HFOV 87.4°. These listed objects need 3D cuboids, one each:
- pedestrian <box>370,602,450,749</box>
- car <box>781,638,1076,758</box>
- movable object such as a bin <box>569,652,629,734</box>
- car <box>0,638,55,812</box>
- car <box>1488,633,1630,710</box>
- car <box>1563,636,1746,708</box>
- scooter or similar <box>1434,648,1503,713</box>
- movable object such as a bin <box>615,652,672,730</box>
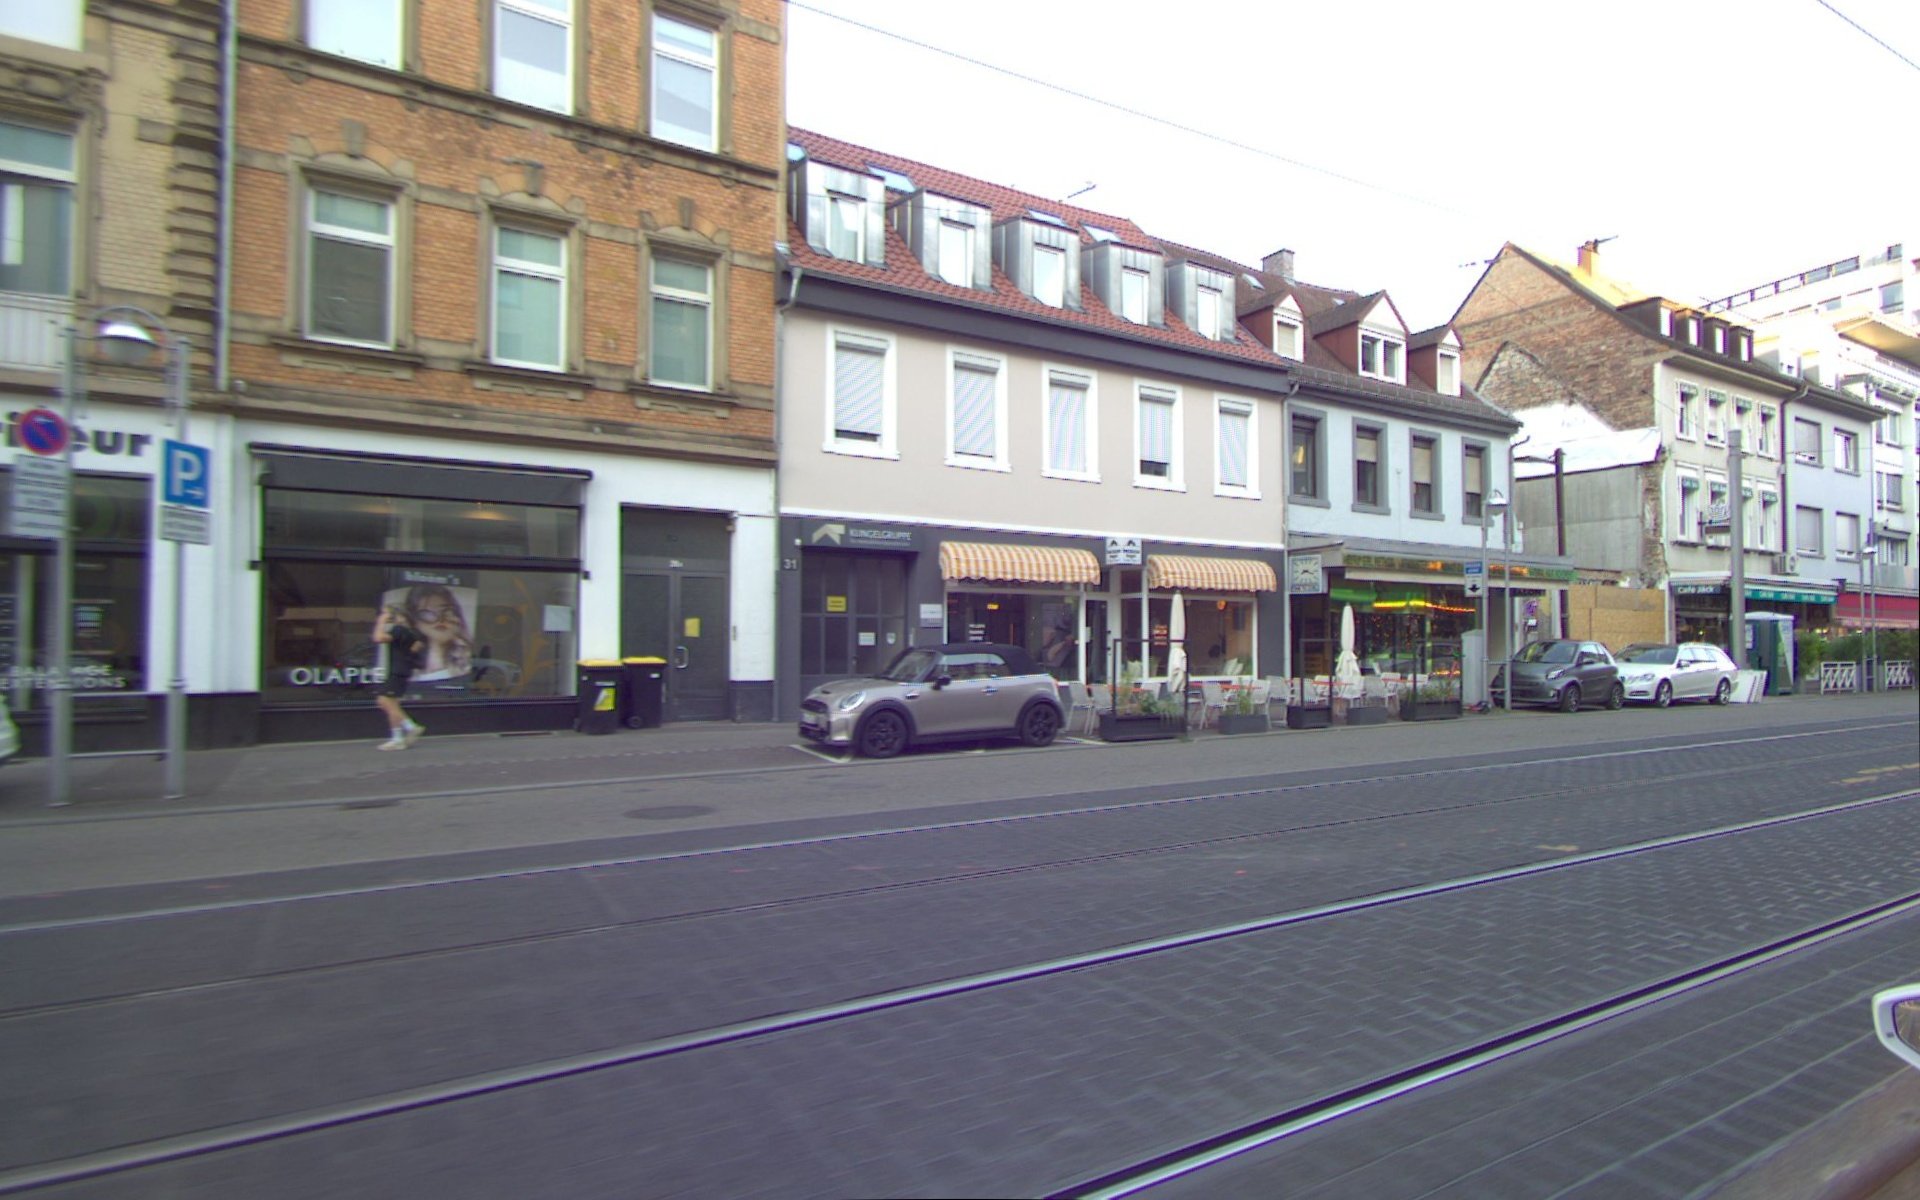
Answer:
[{"bbox_3d":[-6.998,0.936,12.785,0.845,1.796,0.645,1,0,-30],"label":"pedestrian"},{"bbox_3d":[-0.413,1.299,14.265,3.819,1.408,1.725,2,0,-30],"label":"car"},{"bbox_3d":[-5.266,1.332,14.655,0.720,1.146,0.587,1,-2,-30],"label":"movable object such as a bin"},{"bbox_3d":[-10.455,1.054,8.241,4.227,1.408,1.749,2,0,-33],"label":"car"},{"bbox_3d":[13.252,1.539,22.218,2.781,1.524,1.583,2,0,-32],"label":"car"},{"bbox_3d":[17.043,1.698,24.585,4.785,1.524,1.840,2,0,-31],"label":"car"},{"bbox_3d":[10.429,1.641,20.643,0.290,1.221,1.308,1,0,-29],"label":"scooter or similar"},{"bbox_3d":[-4.850,1.378,15.400,0.720,1.146,0.587,1,-2,-30],"label":"movable object such as a bin"}]
